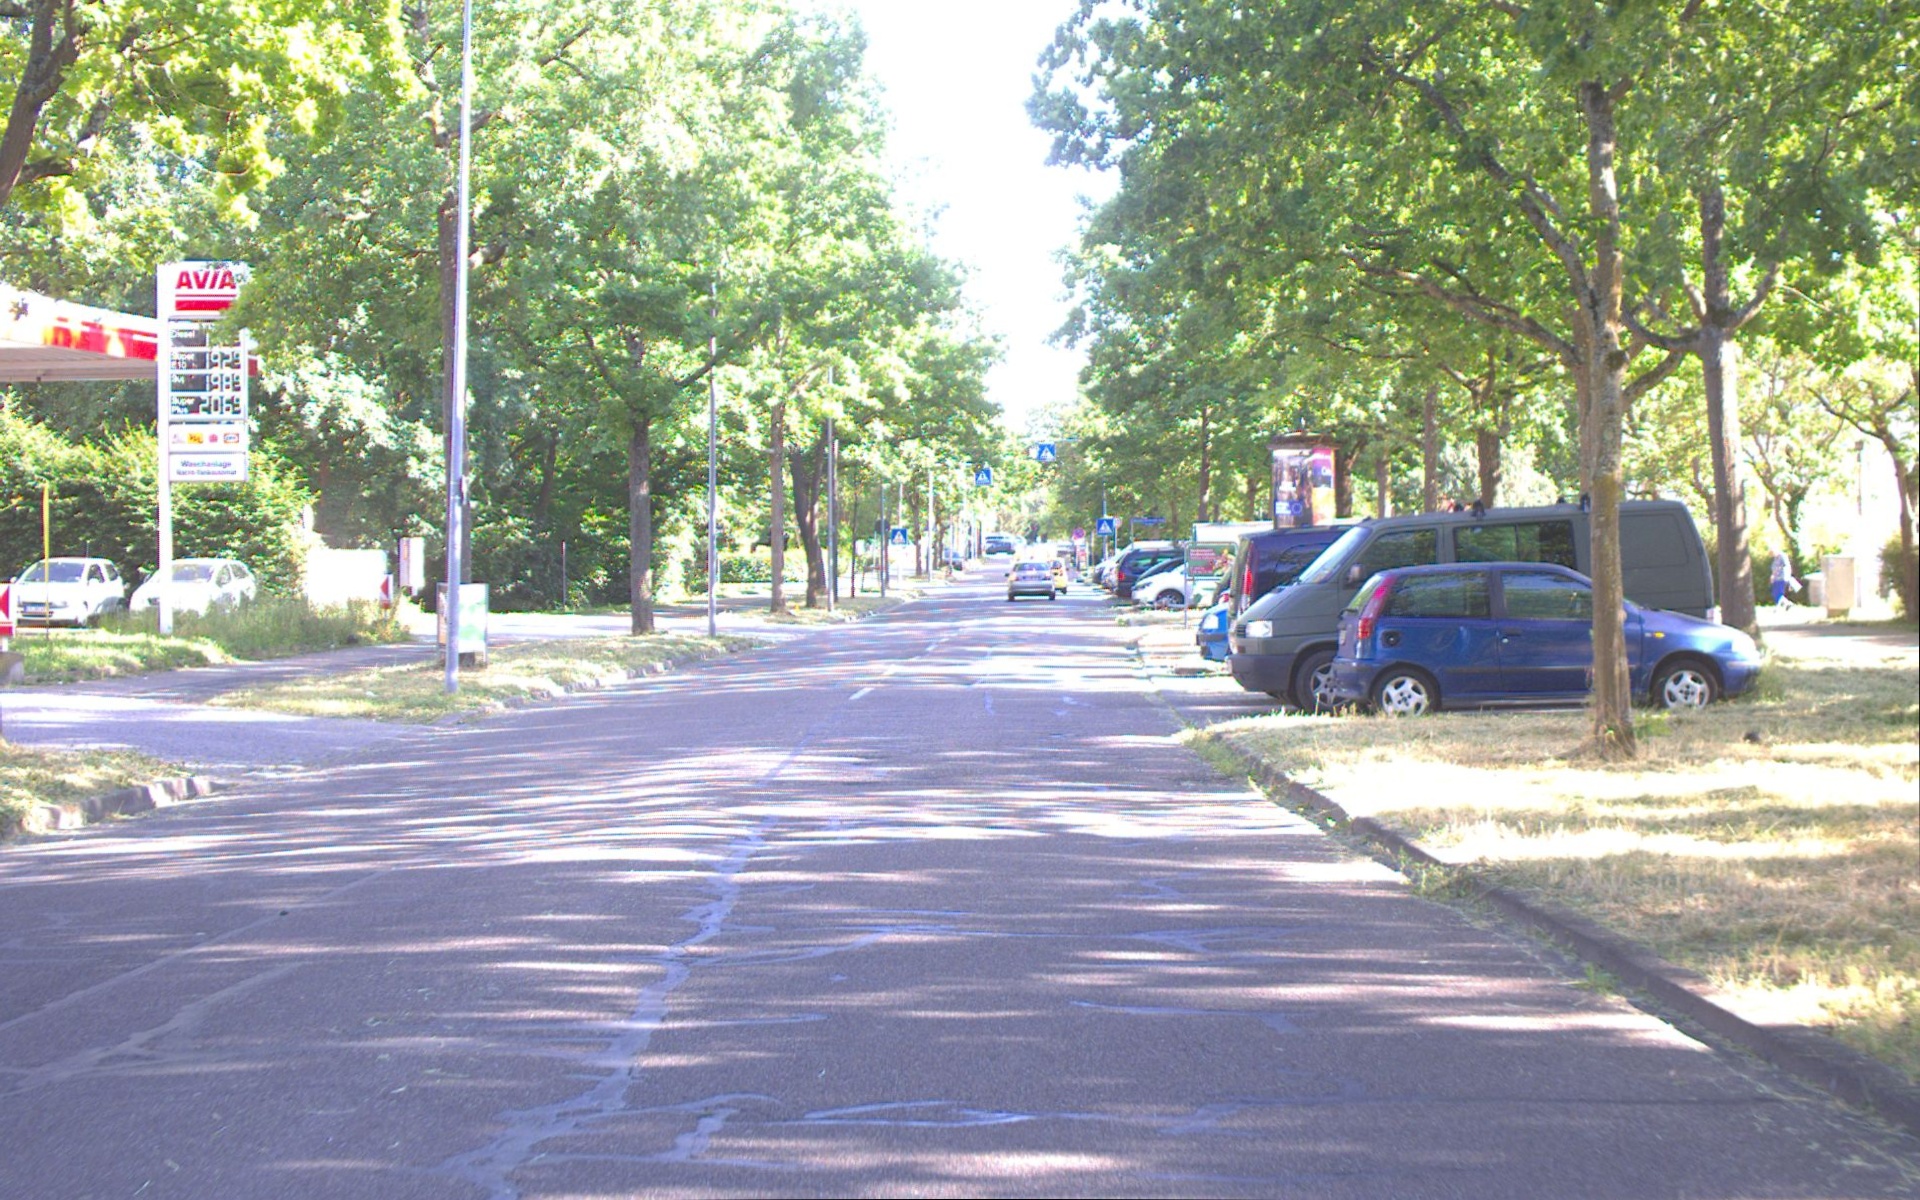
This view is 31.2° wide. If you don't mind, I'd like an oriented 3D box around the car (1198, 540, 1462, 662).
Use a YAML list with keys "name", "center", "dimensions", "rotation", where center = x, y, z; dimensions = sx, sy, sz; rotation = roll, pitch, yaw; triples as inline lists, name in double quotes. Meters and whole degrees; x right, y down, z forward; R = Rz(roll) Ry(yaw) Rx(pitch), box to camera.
- name: "car"
  center: [5.183, 0.005, 48.525]
  dimensions: [3.584, 1.571, 1.786]
  rotation: [-2, 0, 4]

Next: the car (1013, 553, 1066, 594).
- name: "car"
  center: [3.279, -1.097, 142.299]
  dimensions: [1.993, 1.650, 4.000]
  rotation: [0, 0, -1]

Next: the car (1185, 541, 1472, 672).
- name: "car"
  center: [4.669, 0.072, 43.930]
  dimensions: [3.521, 1.527, 1.665]
  rotation: [-2, 0, 4]

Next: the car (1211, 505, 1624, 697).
- name: "car"
  center: [4.743, 0.005, 36.017]
  dimensions: [4.008, 1.831, 1.799]
  rotation: [-2, 0, -1]

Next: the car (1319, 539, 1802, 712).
- name: "car"
  center: [5.274, 0.212, 30.563]
  dimensions: [3.988, 1.398, 1.739]
  rotation: [-1, 1, 1]

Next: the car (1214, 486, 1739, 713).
- name: "car"
  center: [4.942, -0.016, 33.410]
  dimensions: [4.803, 2.025, 1.944]
  rotation: [-1, 1, 1]

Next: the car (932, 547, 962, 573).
- name: "car"
  center: [-0.868, -2.750, 236.118]
  dimensions: [1.993, 1.711, 4.000]
  rotation: [0, 1, 1]

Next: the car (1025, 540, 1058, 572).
- name: "car"
  center: [4.935, -2.698, 209.048]
  dimensions: [1.993, 1.926, 4.000]
  rotation: [0, 1, 1]

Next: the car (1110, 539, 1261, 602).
- name: "car"
  center: [6.890, -0.903, 105.487]
  dimensions: [4.530, 1.795, 1.936]
  rotation: [-2, 1, 2]

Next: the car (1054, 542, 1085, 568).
- name: "car"
  center: [7.290, -3.017, 229.708]
  dimensions: [1.993, 1.711, 4.000]
  rotation: [0, 1, 1]

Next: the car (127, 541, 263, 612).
- name: "car"
  center: [-15.966, -0.502, 71.925]
  dimensions: [1.547, 1.417, 3.485]
  rotation: [2, 1, 10]

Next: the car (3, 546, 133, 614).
- name: "car"
  center: [-18.593, -0.429, 71.767]
  dimensions: [1.423, 1.363, 3.204]
  rotation: [2, 1, 10]

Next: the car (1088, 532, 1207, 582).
- name: "car"
  center: [8.315, -1.909, 152.859]
  dimensions: [5.187, 2.098, 2.082]
  rotation: [-1, 1, 0]

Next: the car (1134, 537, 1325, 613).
- name: "car"
  center: [6.714, -0.643, 85.959]
  dimensions: [4.642, 1.716, 1.987]
  rotation: [-2, 1, 3]

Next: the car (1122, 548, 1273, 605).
- name: "car"
  center: [6.806, -0.672, 98.773]
  dimensions: [4.246, 1.514, 2.078]
  rotation: [-2, 1, 3]

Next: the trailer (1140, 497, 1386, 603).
- name: "trailer"
  center: [7.303, -1.208, 83.108]
  dimensions: [5.775, 2.310, 1.686]
  rotation: [-2, 1, 4]

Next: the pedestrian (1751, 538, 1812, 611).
- name: "pedestrian"
  center: [17.233, -0.531, 72.098]
  dimensions: [0.884, 1.495, 0.941]
  rotation: [-1, 1, 40]

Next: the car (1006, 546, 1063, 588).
- name: "car"
  center: [2.673, -1.181, 124.440]
  dimensions: [1.993, 1.479, 4.000]
  rotation: [0, 0, 0]
